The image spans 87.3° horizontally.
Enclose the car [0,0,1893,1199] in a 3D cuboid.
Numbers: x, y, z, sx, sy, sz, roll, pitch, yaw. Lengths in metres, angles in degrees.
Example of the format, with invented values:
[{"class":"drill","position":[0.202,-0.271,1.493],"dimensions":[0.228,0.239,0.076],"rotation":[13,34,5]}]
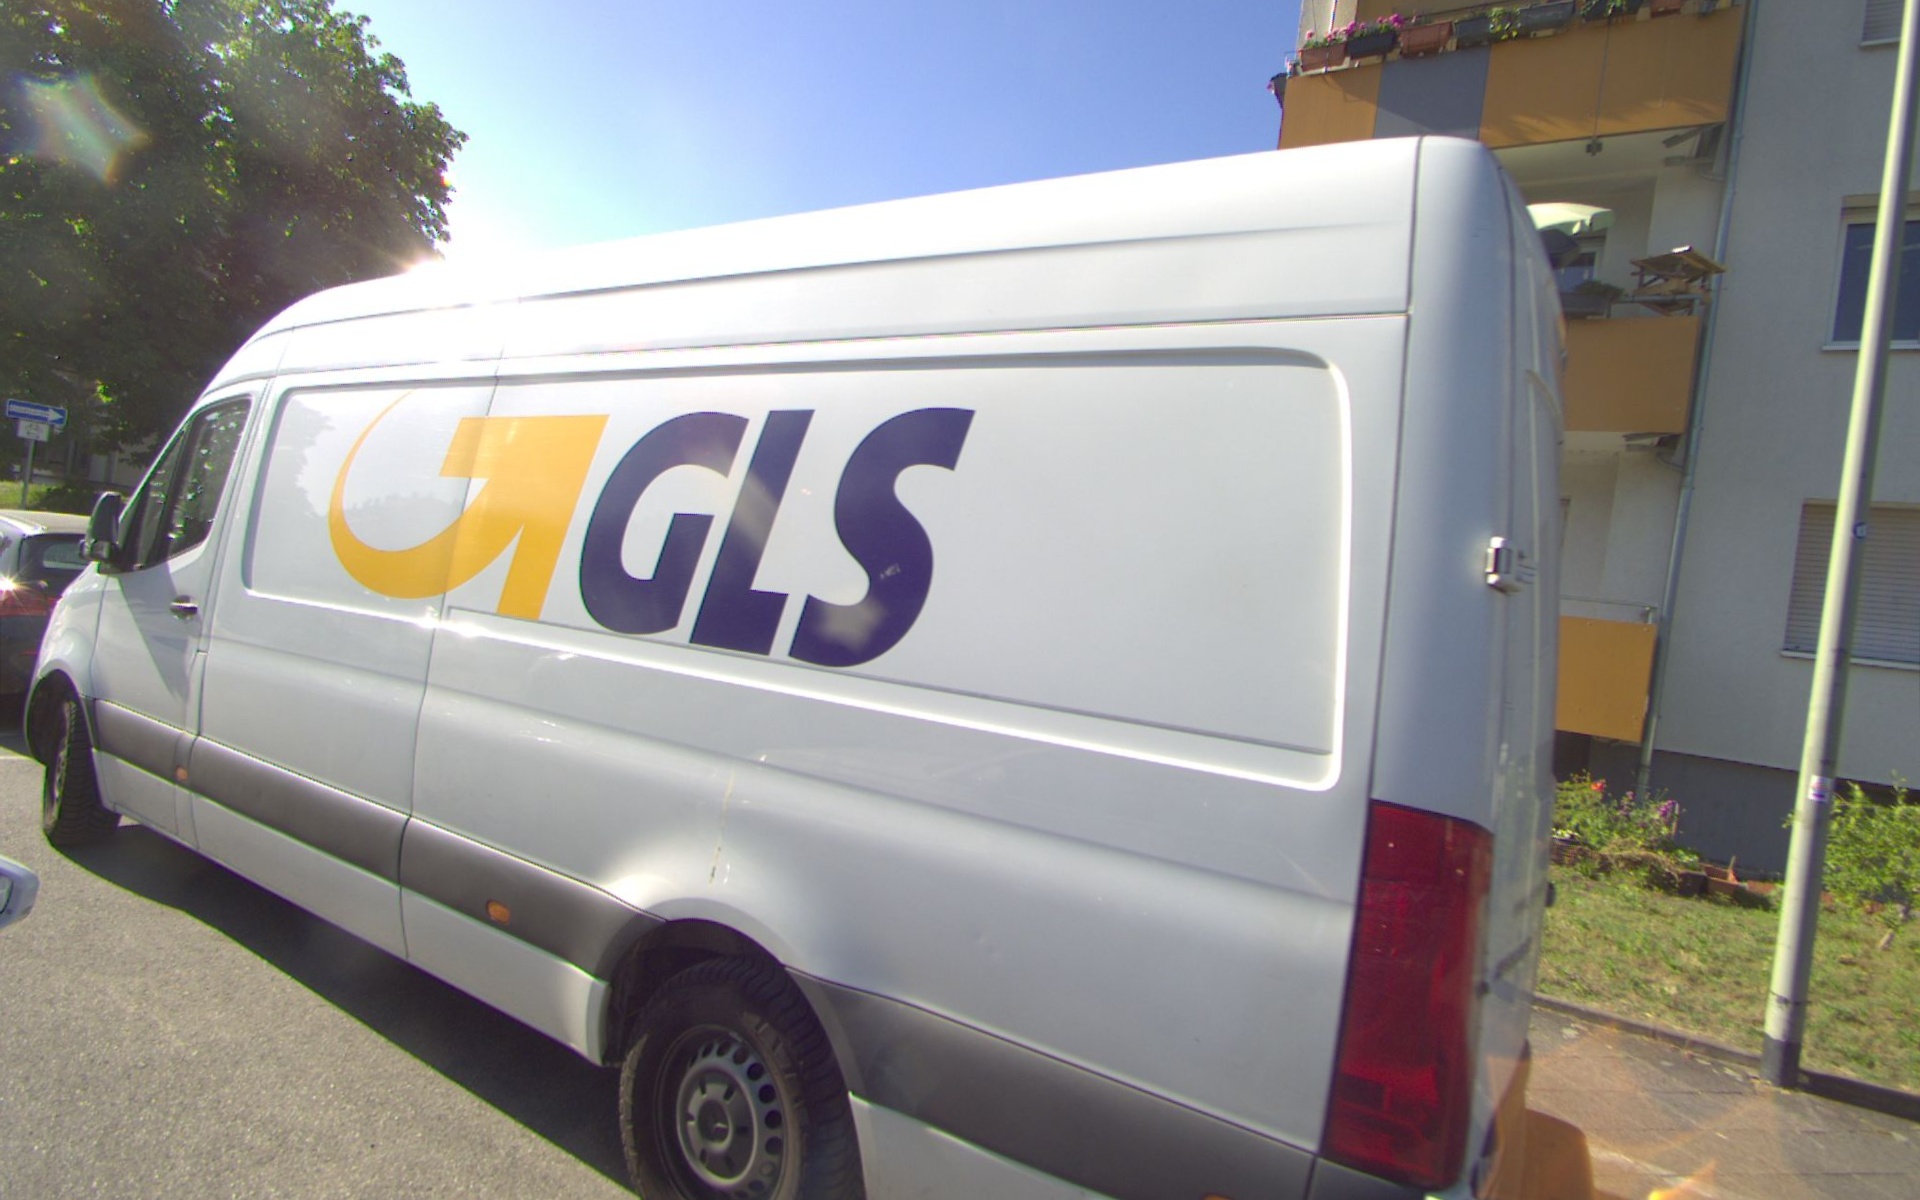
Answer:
[{"class":"car","position":[-1.253,0.107,3.960],"dimensions":[6.729,2.746,2.144],"rotation":[7,0,33]}]

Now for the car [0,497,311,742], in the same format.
[{"class":"car","position":[-7.540,-0.025,8.170],"dimensions":[4.423,1.500,1.961],"rotation":[7,0,31]}]
